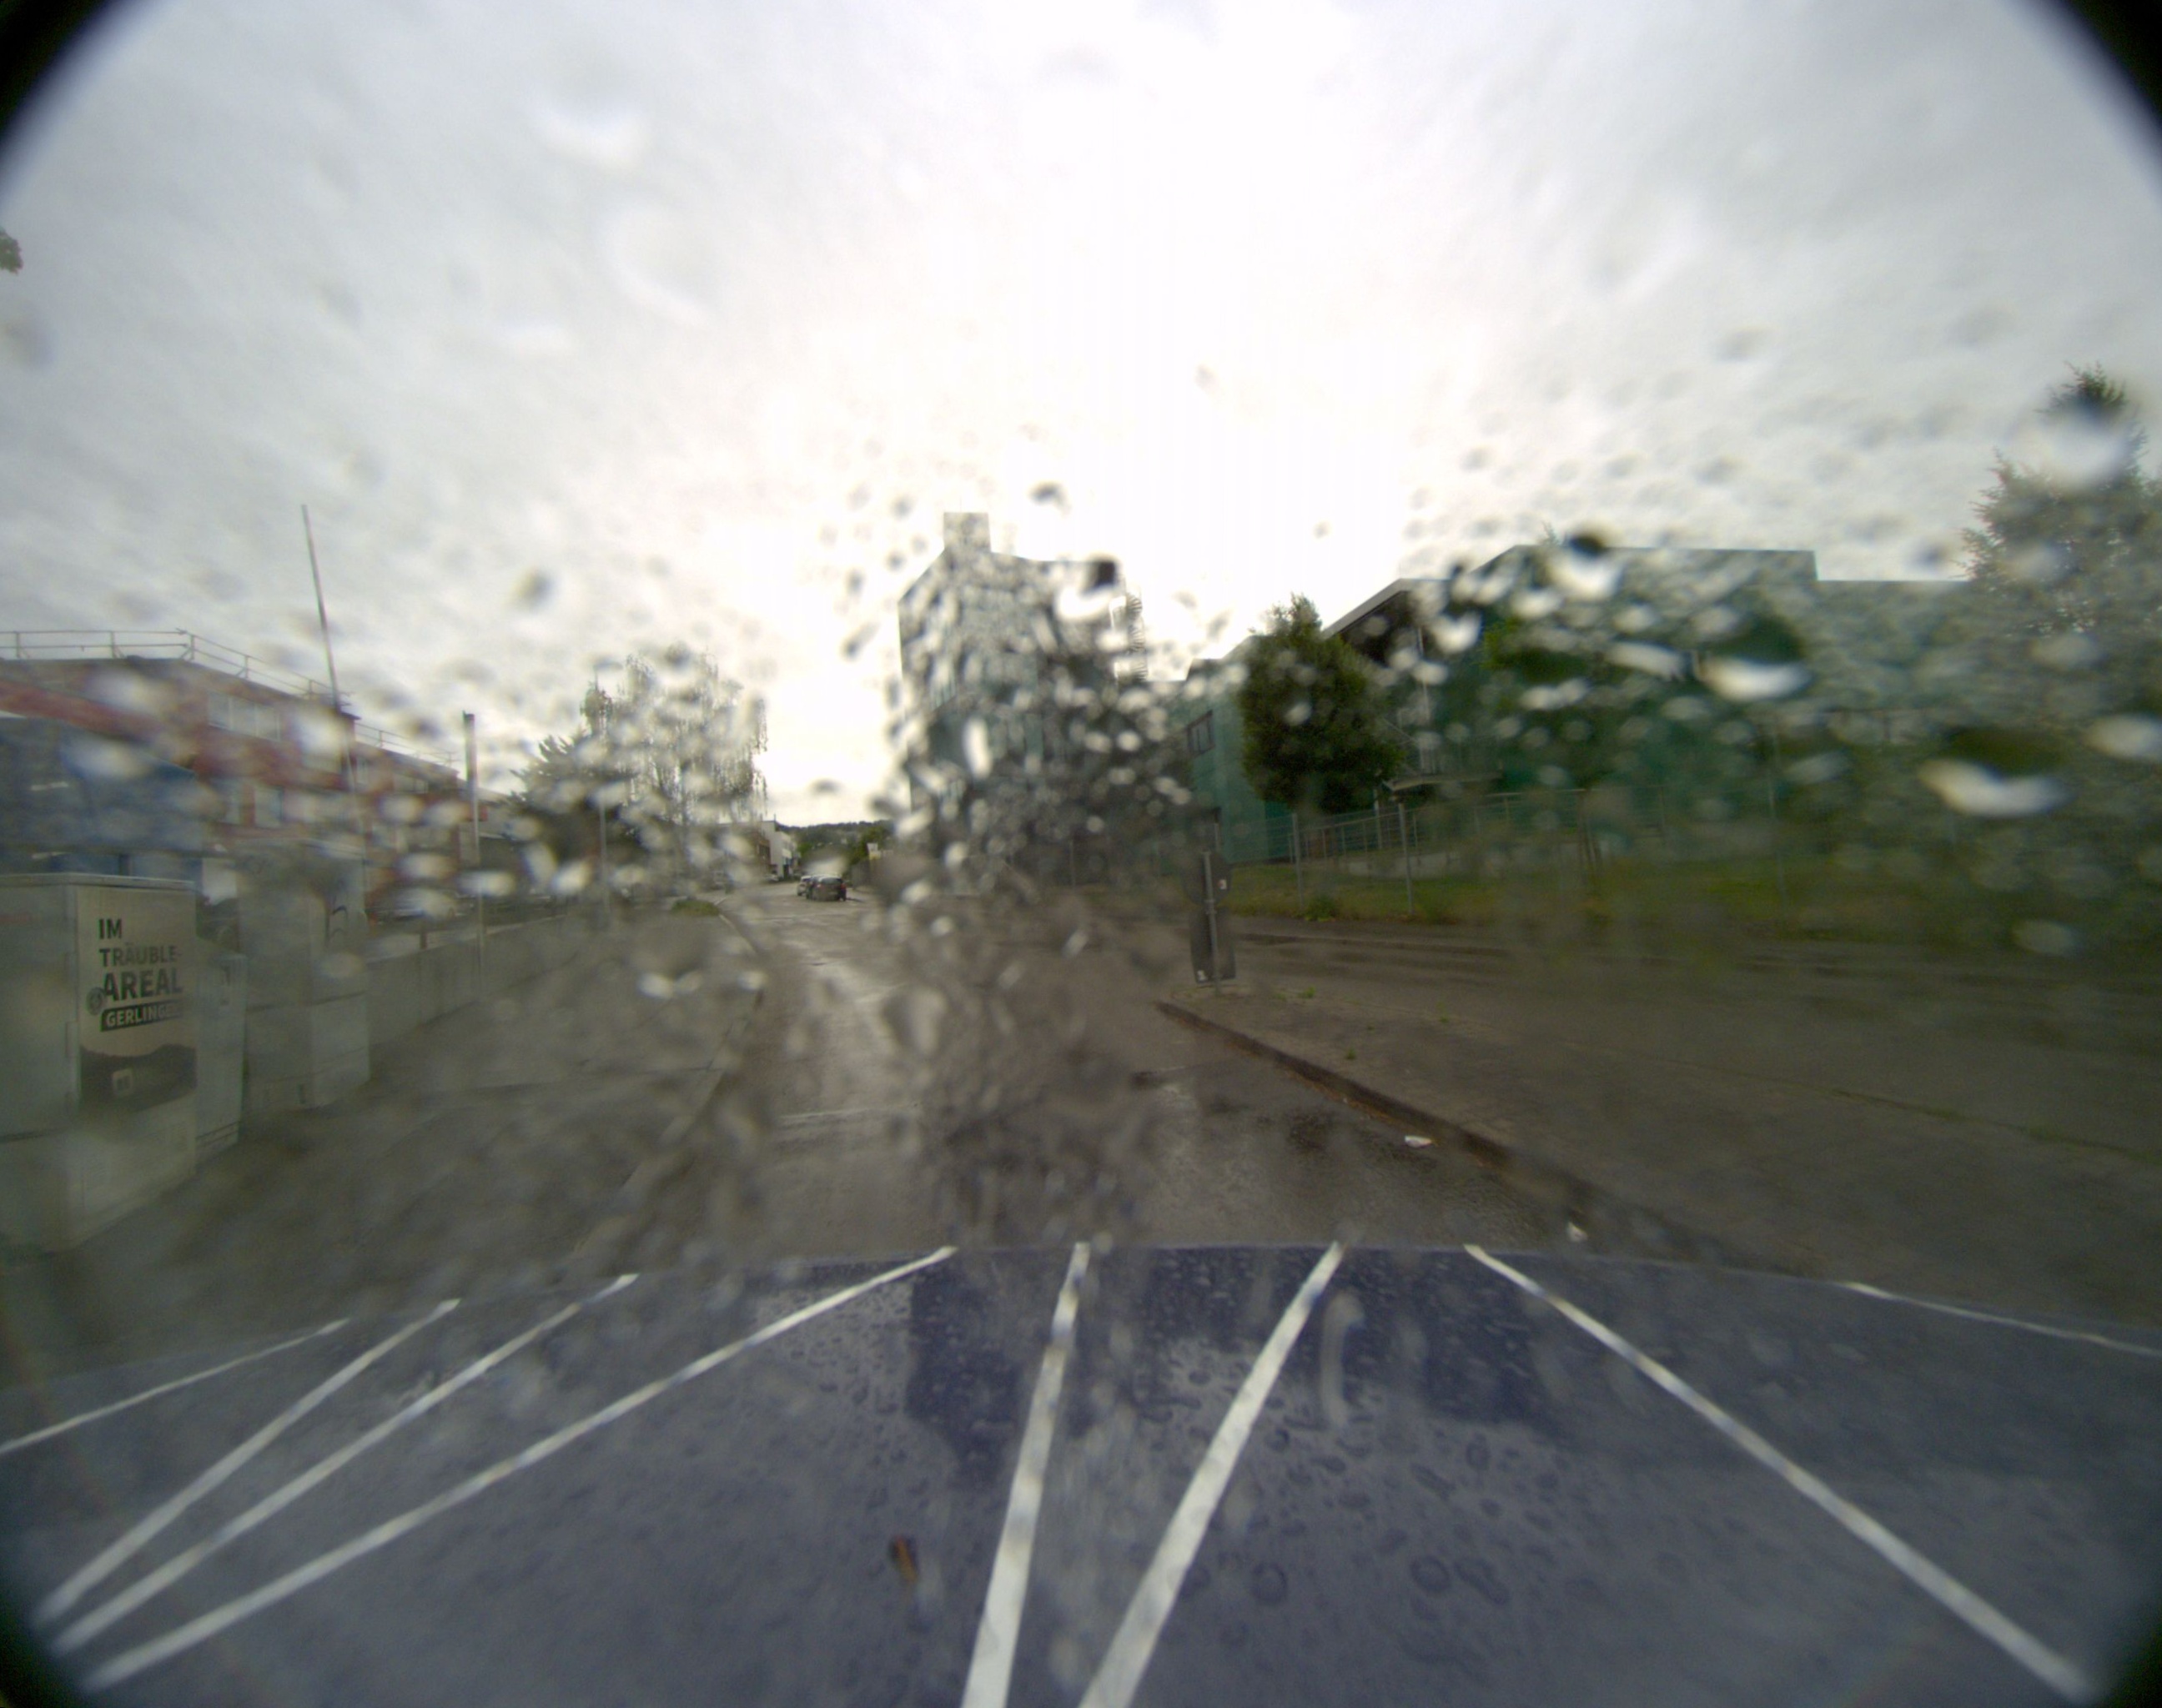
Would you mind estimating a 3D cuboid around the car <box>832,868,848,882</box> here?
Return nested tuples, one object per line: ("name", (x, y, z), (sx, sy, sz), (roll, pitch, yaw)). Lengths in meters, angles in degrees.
("car", (-34.592, 3.003, 108.900), (2.002, 1.902, 3.994), (-3, 0, -20))

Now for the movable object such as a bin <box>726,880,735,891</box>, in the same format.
("movable object such as a bin", (-34.751, 3.107, 75.372), (0.737, 1.084, 0.593), (-3, 0, -19))

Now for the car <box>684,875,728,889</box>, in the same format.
("car", (-47.513, 3.569, 96.390), (4.627, 1.488, 1.939), (-2, 0, -13))

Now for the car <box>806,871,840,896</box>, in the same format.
("car", (-17.728, 2.012, 52.110), (1.639, 1.549, 4.076), (-3, 0, -25))

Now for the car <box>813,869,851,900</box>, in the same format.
("car", (-15.570, 1.855, 47.403), (1.747, 1.787, 3.951), (-3, 0, -25))

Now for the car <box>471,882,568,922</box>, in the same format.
("car", (-27.832, 2.326, 37.866), (2.002, 1.570, 4.508), (-5, 0, -10))

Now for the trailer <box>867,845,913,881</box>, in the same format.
("trailer", (-22.677, 1.102, 90.123), (4.688, 4.065, 2.393), (-3, 0, 25))

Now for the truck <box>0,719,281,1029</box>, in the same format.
("truck", (-8.726, 0.178, 5.192), (2.114, 2.201, 5.644), (-3, 0, -20))

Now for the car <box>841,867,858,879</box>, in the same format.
("car", (-39.248, 3.221, 129.043), (2.000, 2.001, 3.998), (-2, 0, -7))

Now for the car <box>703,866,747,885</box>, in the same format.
("car", (-49.531, 2.995, 105.828), (5.157, 2.280, 2.200), (-3, 0, -11))

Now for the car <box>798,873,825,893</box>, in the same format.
("car", (-22.131, 2.336, 62.377), (1.742, 1.527, 4.242), (-3, 0, -23))

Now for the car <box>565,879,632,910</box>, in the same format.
("car", (-34.191, 2.865, 53.902), (3.445, 1.491, 1.617), (-11, 1, -11))

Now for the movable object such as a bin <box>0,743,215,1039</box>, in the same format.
("movable object such as a bin", (-6.385, 0.229, 4.354), (1.313, 1.491, 1.854), (-3, 0, -31))

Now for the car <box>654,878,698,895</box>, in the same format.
("car", (-42.678, 3.392, 80.120), (3.753, 1.531, 1.629), (-3, 0, -15))
